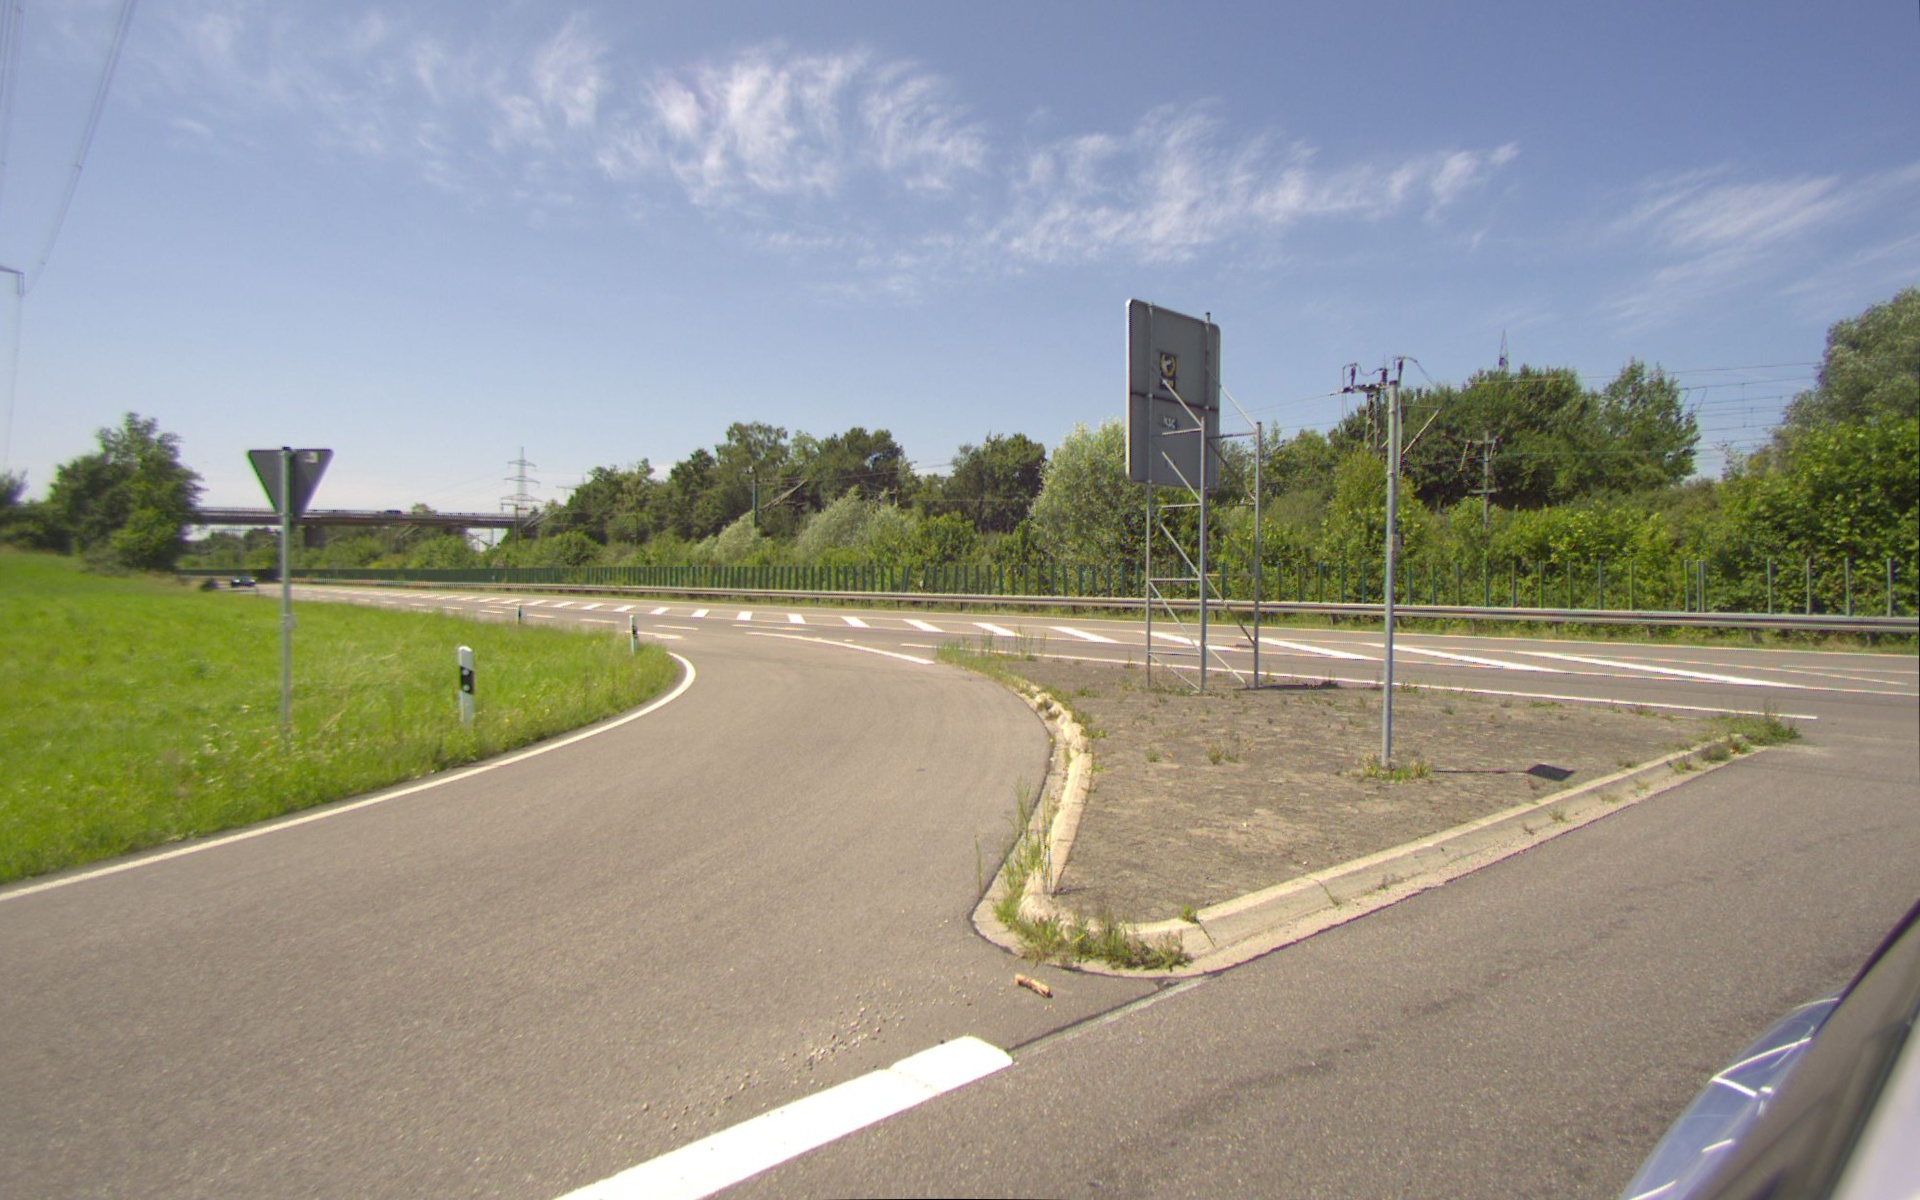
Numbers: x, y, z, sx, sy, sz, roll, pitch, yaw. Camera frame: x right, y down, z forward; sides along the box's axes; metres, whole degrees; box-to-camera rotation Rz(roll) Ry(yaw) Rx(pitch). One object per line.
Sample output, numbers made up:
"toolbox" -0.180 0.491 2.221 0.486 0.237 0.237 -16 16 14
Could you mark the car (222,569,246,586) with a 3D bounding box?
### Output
"car" -79.114 -2.477 110.287 1.695 1.745 3.993 0 2 -42
